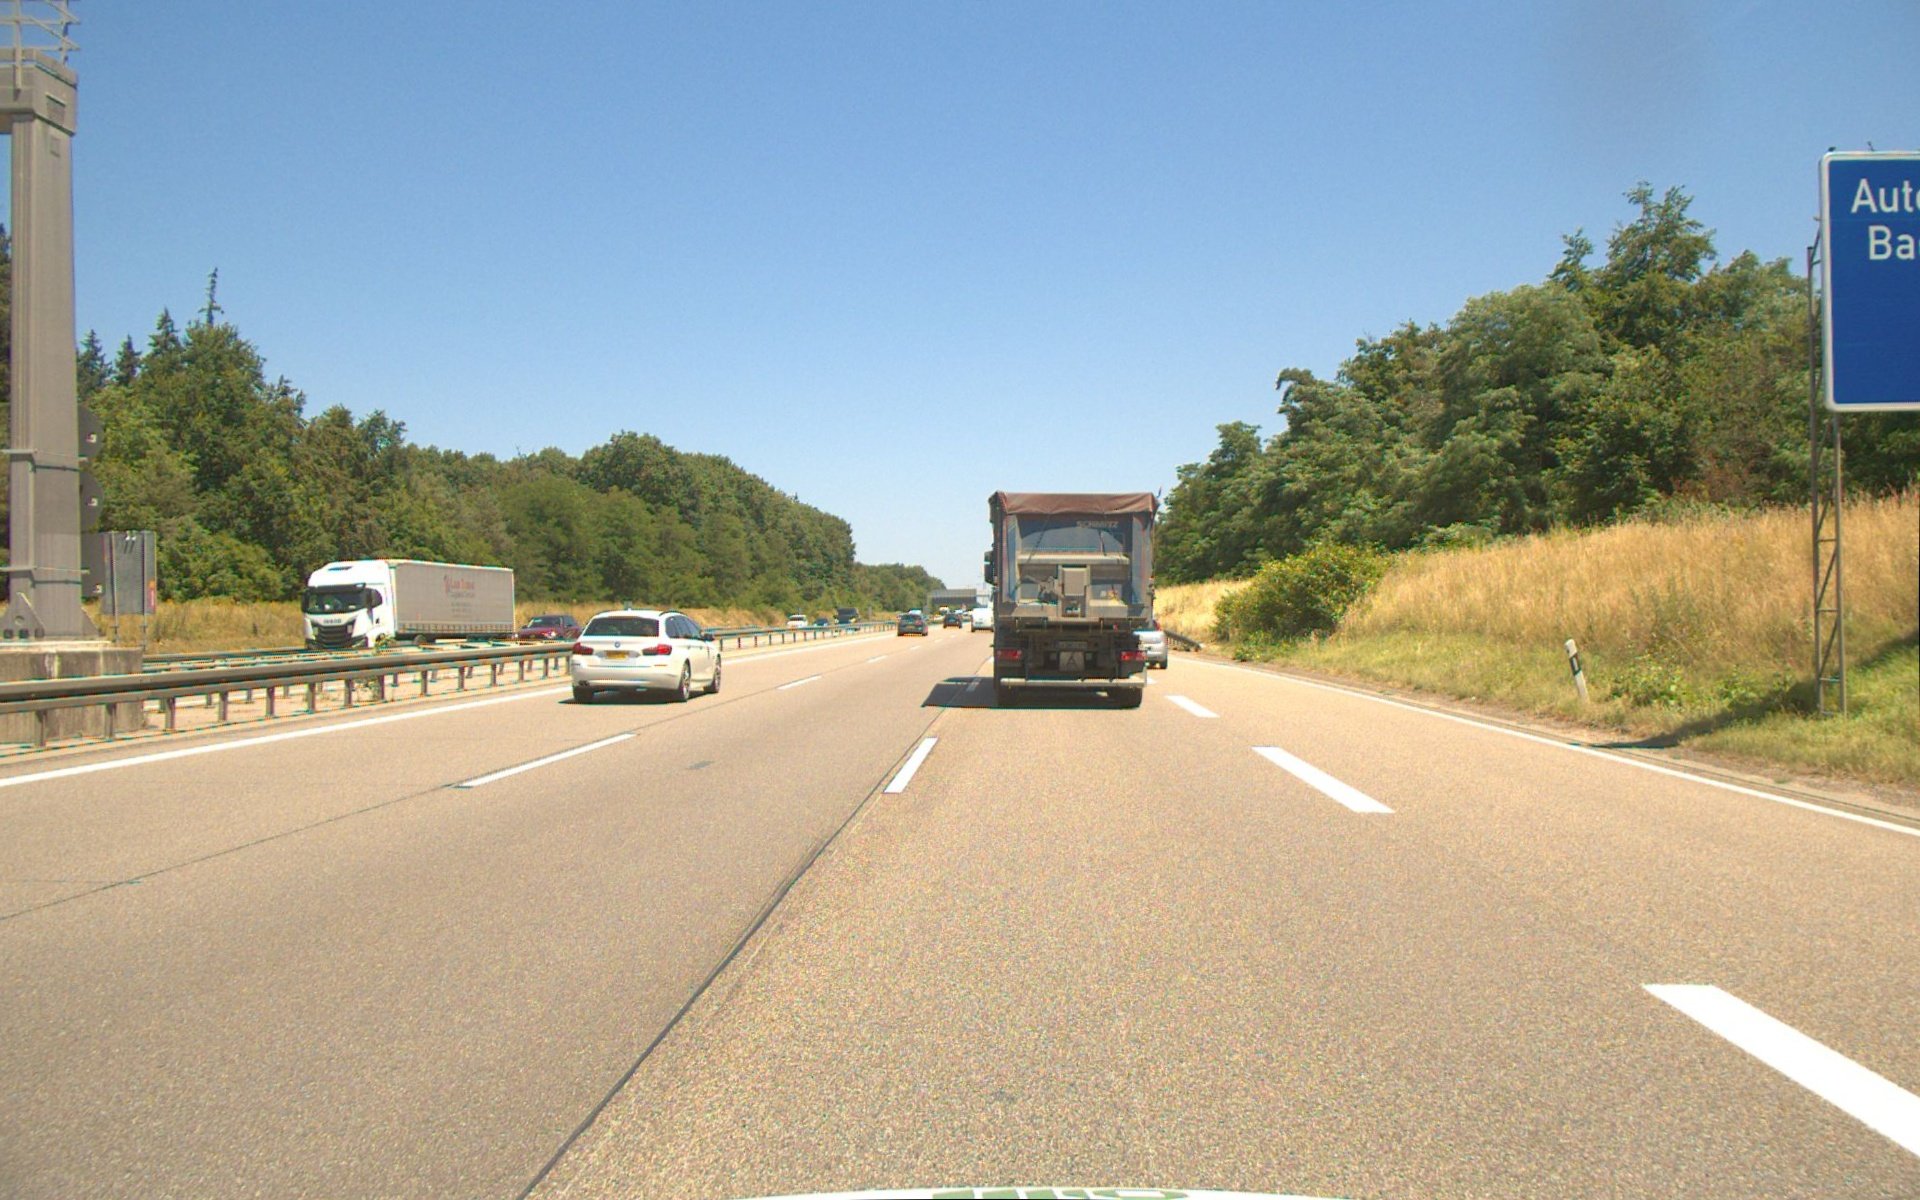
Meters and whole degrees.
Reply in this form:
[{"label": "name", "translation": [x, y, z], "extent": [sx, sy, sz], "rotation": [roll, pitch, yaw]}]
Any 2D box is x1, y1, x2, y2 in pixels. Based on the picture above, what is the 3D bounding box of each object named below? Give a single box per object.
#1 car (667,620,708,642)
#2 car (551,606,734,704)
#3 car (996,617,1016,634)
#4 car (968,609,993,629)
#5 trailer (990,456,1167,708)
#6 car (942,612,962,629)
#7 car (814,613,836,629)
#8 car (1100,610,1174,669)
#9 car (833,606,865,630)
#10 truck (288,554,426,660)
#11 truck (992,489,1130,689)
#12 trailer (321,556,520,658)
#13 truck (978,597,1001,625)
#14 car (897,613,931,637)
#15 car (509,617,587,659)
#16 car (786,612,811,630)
[{"label": "car", "translation": [-19.516, 2.207, 118.644], "extent": [1.887, 1.489, 4.944], "rotation": [-1, 0, 2]}, {"label": "car", "translation": [-5.337, 0.895, 28.581], "extent": [1.923, 1.530, 5.406], "rotation": [0, -1, 2]}, {"label": "car", "translation": [4.145, 2.264, 147.827], "extent": [1.698, 1.518, 3.738], "rotation": [0, -1, 2]}, {"label": "car", "translation": [1.618, 1.432, 128.177], "extent": [1.855, 1.495, 4.262], "rotation": [1, 0, 2]}, {"label": "trailer", "translation": [1.902, -0.272, 29.676], "extent": [2.680, 3.824, 9.110], "rotation": [0, 0, 1]}, {"label": "car", "translation": [-0.764, 1.974, 161.533], "extent": [1.837, 1.608, 3.929], "rotation": [0, 0, 2]}, {"label": "car", "translation": [-15.917, 2.482, 194.682], "extent": [1.952, 1.733, 4.980], "rotation": [-3, -1, 2]}, {"label": "car", "translation": [4.895, 1.072, 46.209], "extent": [1.684, 1.518, 3.737], "rotation": [0, 0, 0]}, {"label": "car", "translation": [-9.827, 1.585, 146.769], "extent": [2.232, 1.974, 4.944], "rotation": [-1, 0, 2]}, {"label": "truck", "translation": [-23.524, 0.288, 64.870], "extent": [3.101, 4.000, 5.402], "rotation": [0, -1, 4]}, {"label": "truck", "translation": [2.001, -0.213, 34.700], "extent": [2.629, 3.824, 5.945], "rotation": [0, 0, 1]}, {"label": "trailer", "translation": [-23.033, 0.345, 71.883], "extent": [3.101, 4.000, 13.970], "rotation": [0, -1, 4]}, {"label": "truck", "translation": [3.199, 1.234, 180.679], "extent": [2.378, 2.935, 6.205], "rotation": [0, -1, 1]}, {"label": "car", "translation": [-2.911, 1.574, 105.105], "extent": [1.794, 1.457, 5.001], "rotation": [0, 0, 2]}, {"label": "car", "translation": [-17.062, 1.545, 68.712], "extent": [1.808, 1.638, 4.922], "rotation": [0, -1, 2]}, {"label": "car", "translation": [-17.066, 2.201, 174.843], "extent": [1.952, 1.860, 4.643], "rotation": [-3, -1, 2]}]
